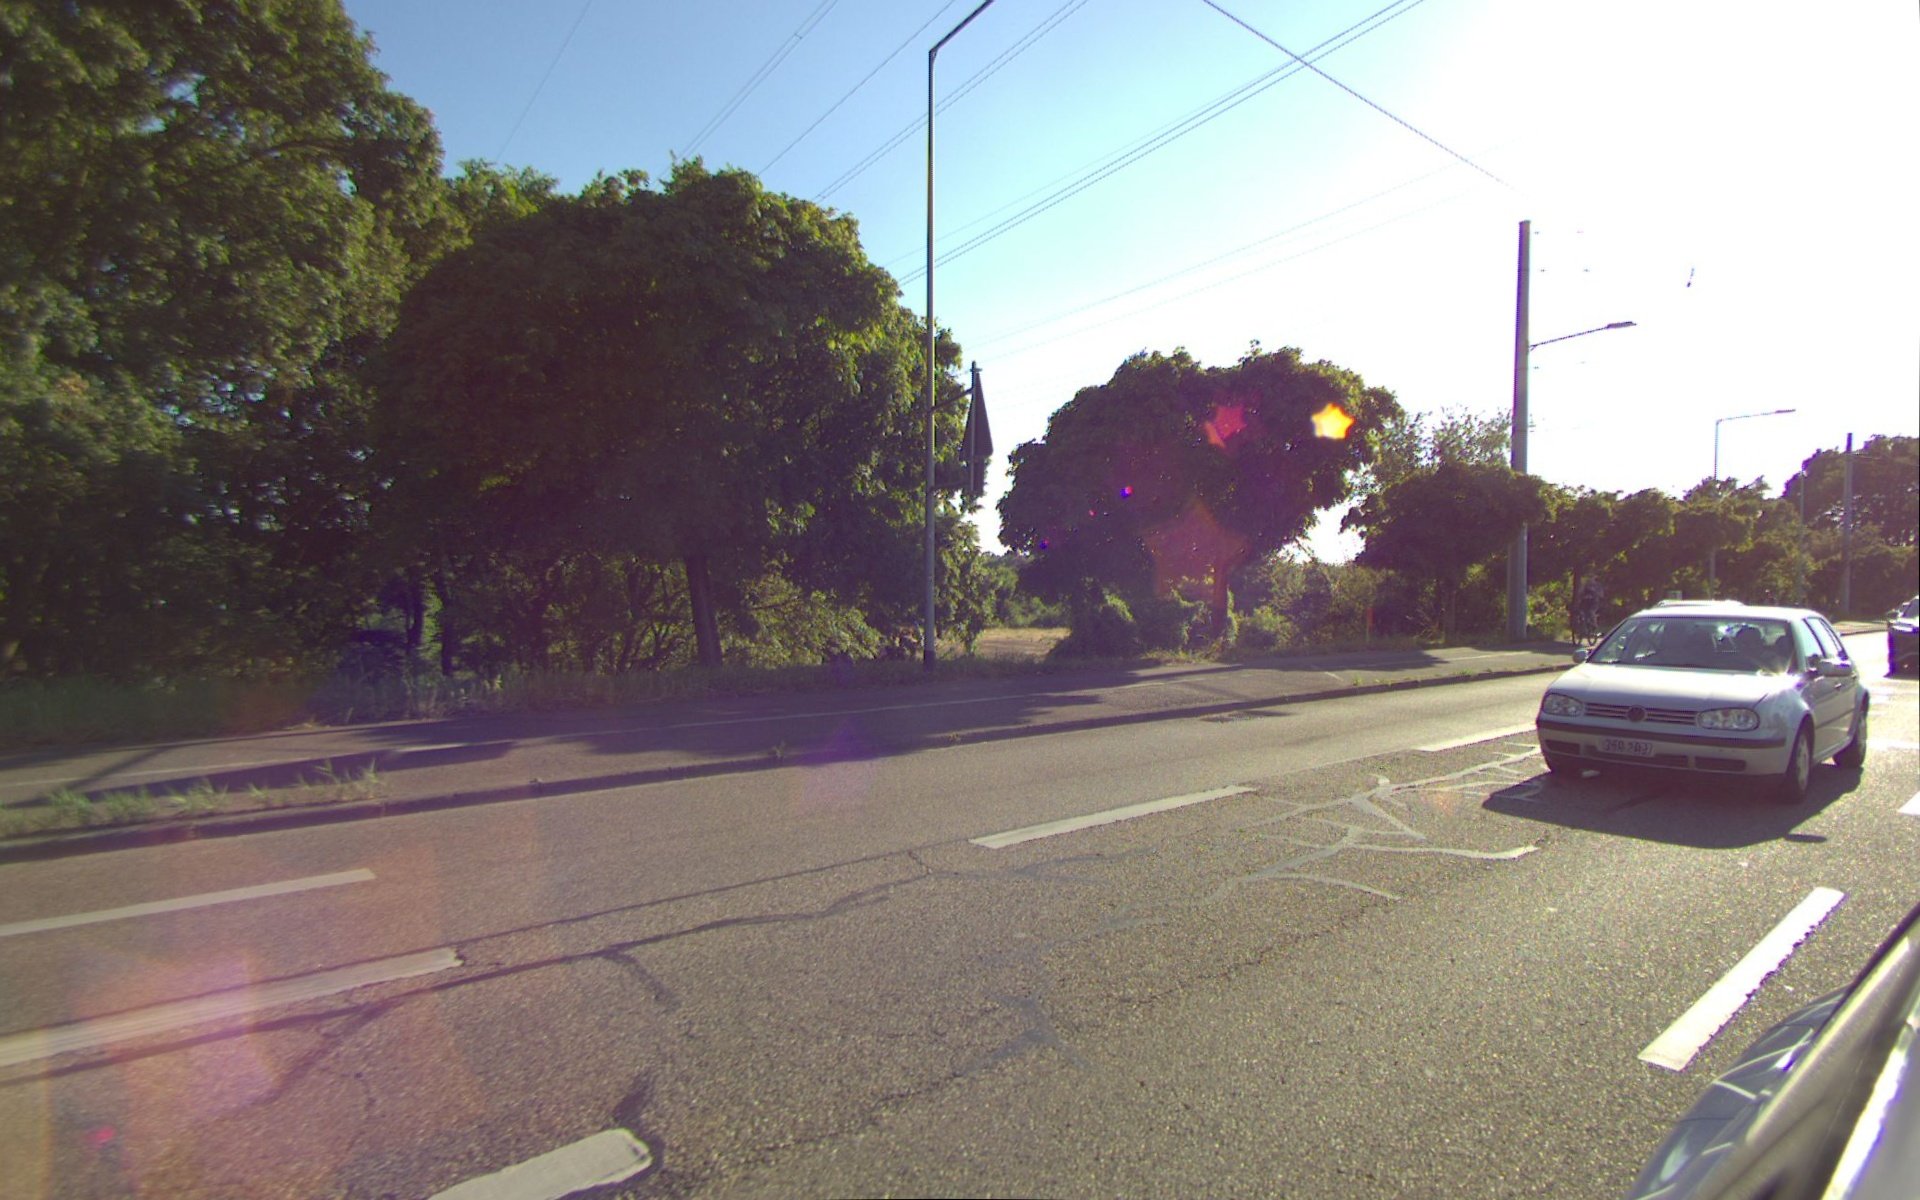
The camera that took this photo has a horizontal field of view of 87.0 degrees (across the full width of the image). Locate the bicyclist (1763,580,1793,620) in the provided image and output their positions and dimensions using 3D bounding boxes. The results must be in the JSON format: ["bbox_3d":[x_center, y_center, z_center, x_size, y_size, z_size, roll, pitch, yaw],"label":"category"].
[{"bbox_3d":[32.448,-0.008,40.145,1.041,1.488,0.629,-1,5,-39],"label":"bicyclist"}]

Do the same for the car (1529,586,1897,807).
[{"bbox_3d":[6.637,0.629,8.776,3.930,1.463,1.694,-1,1,-40],"label":"car"}]

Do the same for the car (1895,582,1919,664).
[{"bbox_3d":[21.299,0.449,21.237,4.338,1.620,1.881,-1,1,-39],"label":"car"}]

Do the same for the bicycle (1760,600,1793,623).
[{"bbox_3d":[32.409,0.441,40.164,1.605,0.844,0.629,-1,5,-39],"label":"bicycle"}]

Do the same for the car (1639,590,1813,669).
[{"bbox_3d":[16.425,0.537,21.621,4.575,1.461,1.881,-1,1,-38],"label":"car"}]

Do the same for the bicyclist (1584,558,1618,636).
[{"bbox_3d":[17.067,-0.086,26.947,0.716,2.042,0.528,-1,0,-39],"label":"bicyclist"}]

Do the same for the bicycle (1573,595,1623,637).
[{"bbox_3d":[16.925,0.411,26.820,1.936,1.074,0.528,-1,0,-39],"label":"bicycle"}]
